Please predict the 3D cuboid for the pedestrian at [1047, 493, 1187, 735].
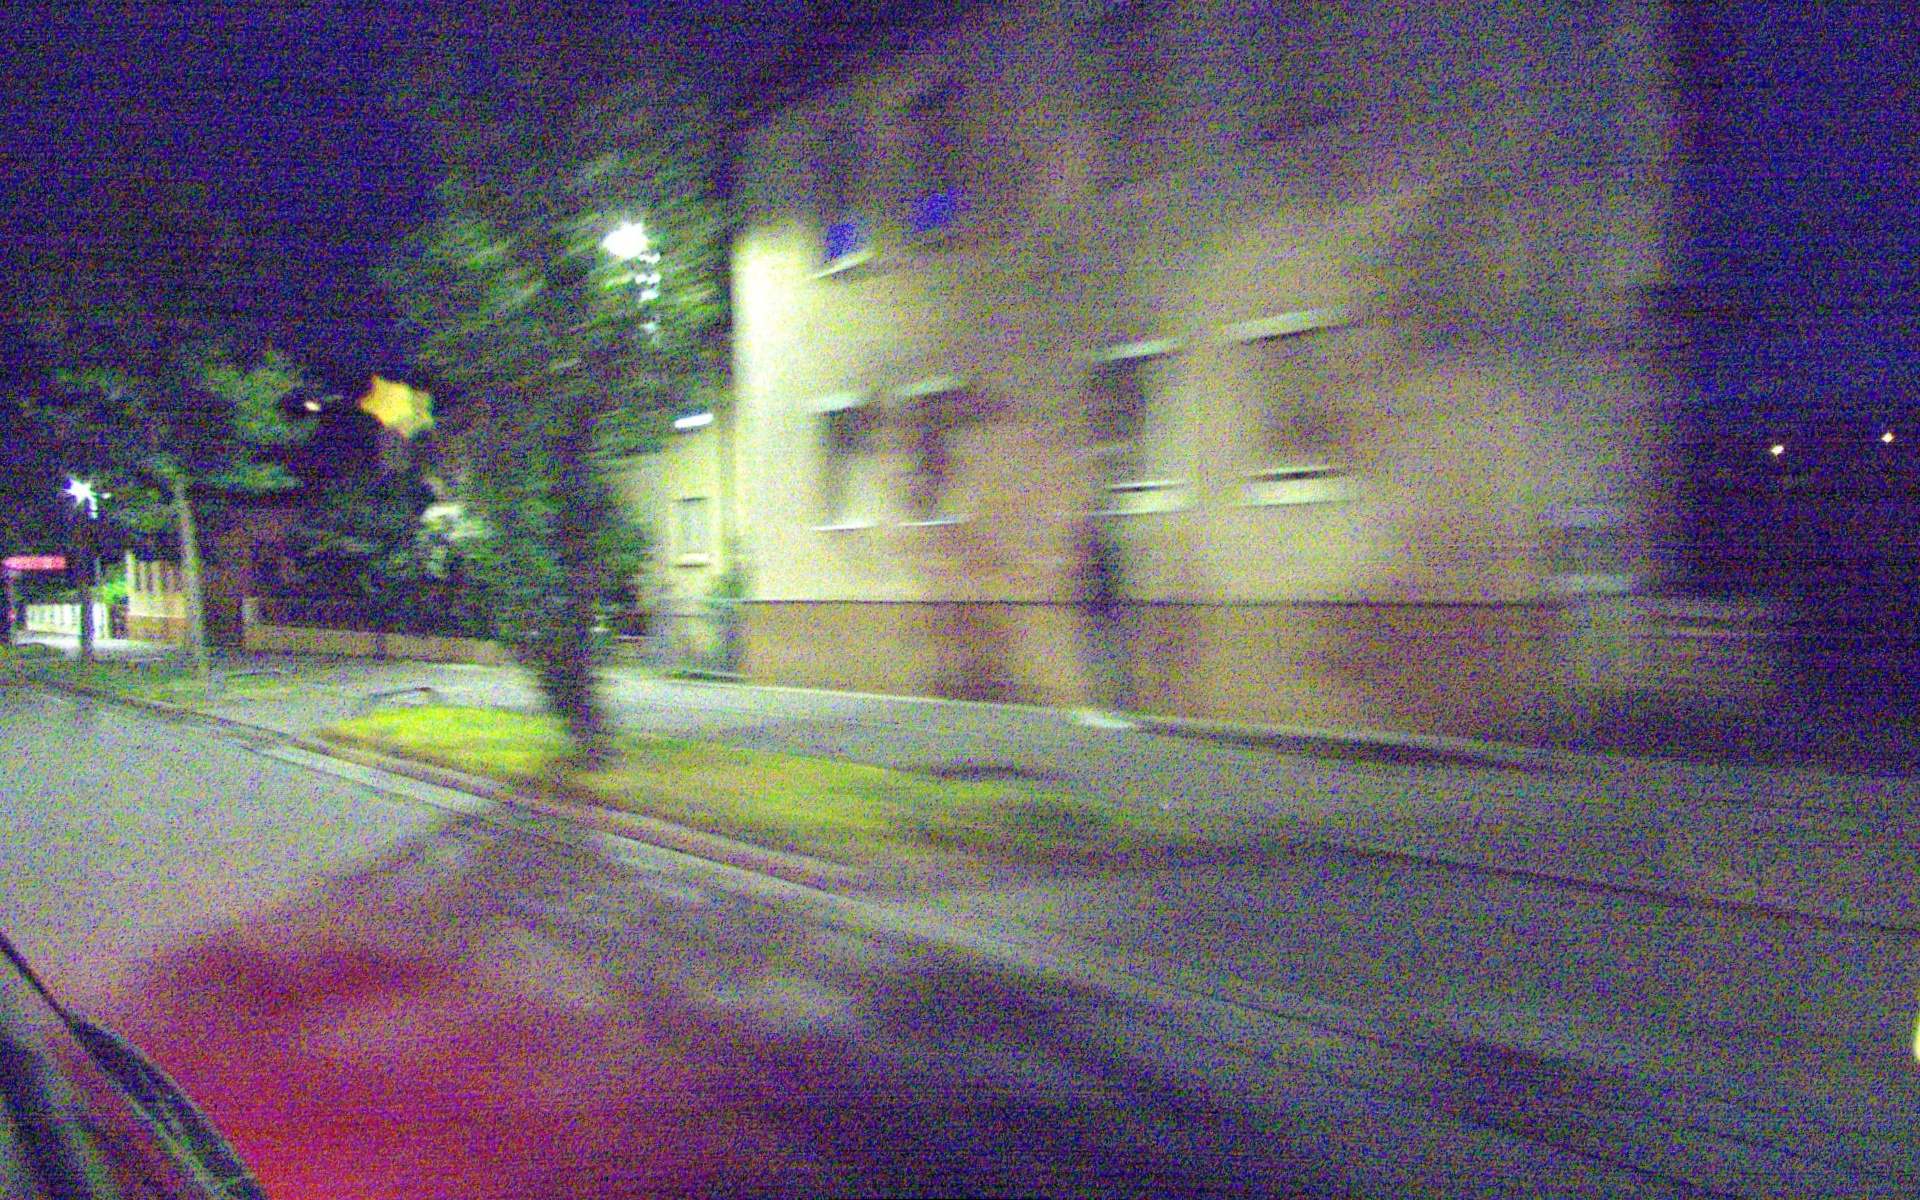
[{"bbox_3d":[1.332,0.095,8.543,0.829,1.917,0.737,-1,3,41],"label":"pedestrian"}]
